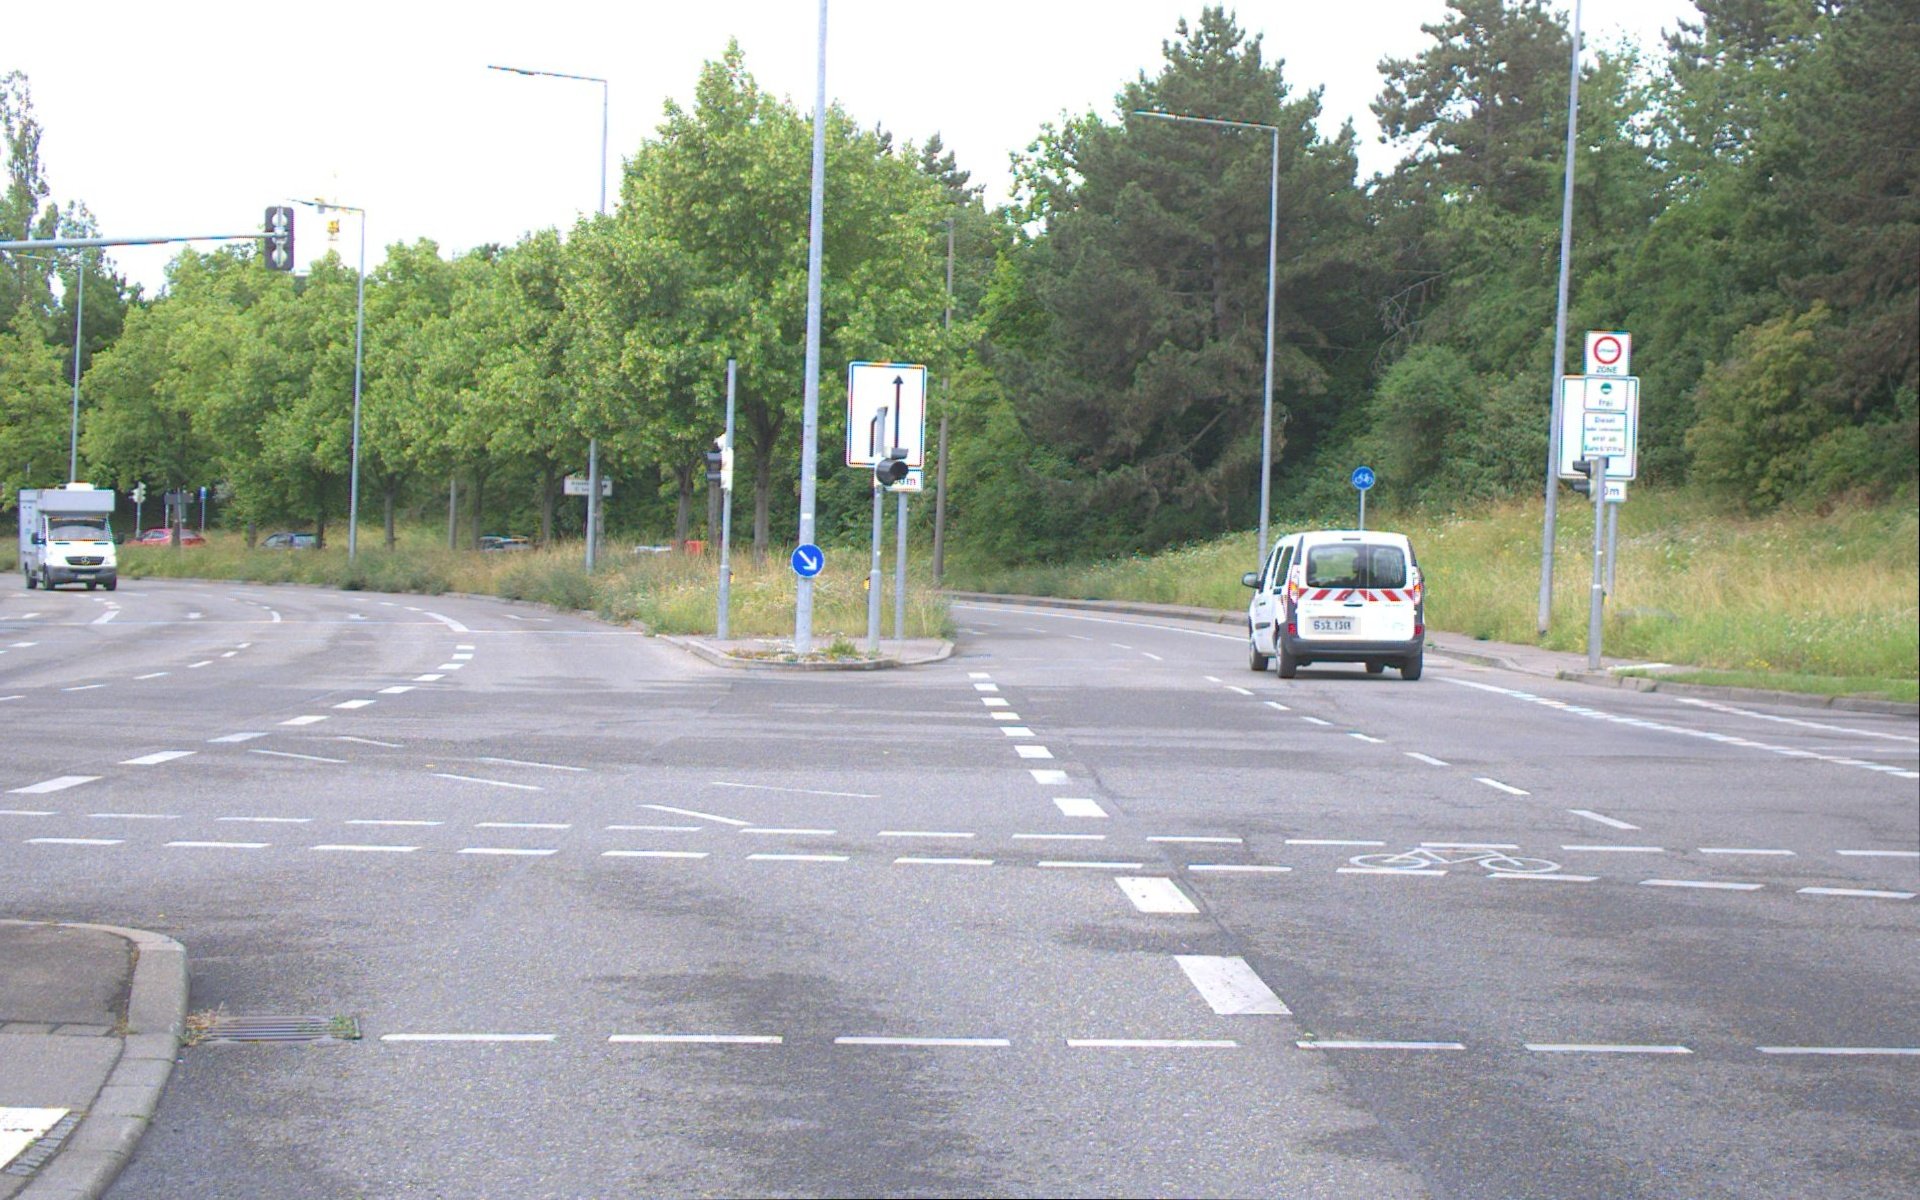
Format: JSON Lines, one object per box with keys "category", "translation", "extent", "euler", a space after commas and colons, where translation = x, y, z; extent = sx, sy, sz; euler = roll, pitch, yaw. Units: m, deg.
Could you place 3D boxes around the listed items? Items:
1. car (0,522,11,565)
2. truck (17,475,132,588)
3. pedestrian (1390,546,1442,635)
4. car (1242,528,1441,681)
{"category": "car", "translation": [-34.477, -1.995, 119.179], "extent": [1.781, 1.441, 4.528], "euler": [-2, 4, -32]}
{"category": "truck", "translation": [-25.588, -1.954, 99.153], "extent": [2.115, 3.124, 5.901], "euler": [1, 1, -25]}
{"category": "pedestrian", "translation": [8.362, -0.180, 63.119], "extent": [0.814, 1.622, 0.791], "euler": [1, 1, -1]}
{"category": "car", "translation": [4.719, 0.035, 43.144], "extent": [1.994, 1.796, 4.839], "euler": [0, 0, 1]}
